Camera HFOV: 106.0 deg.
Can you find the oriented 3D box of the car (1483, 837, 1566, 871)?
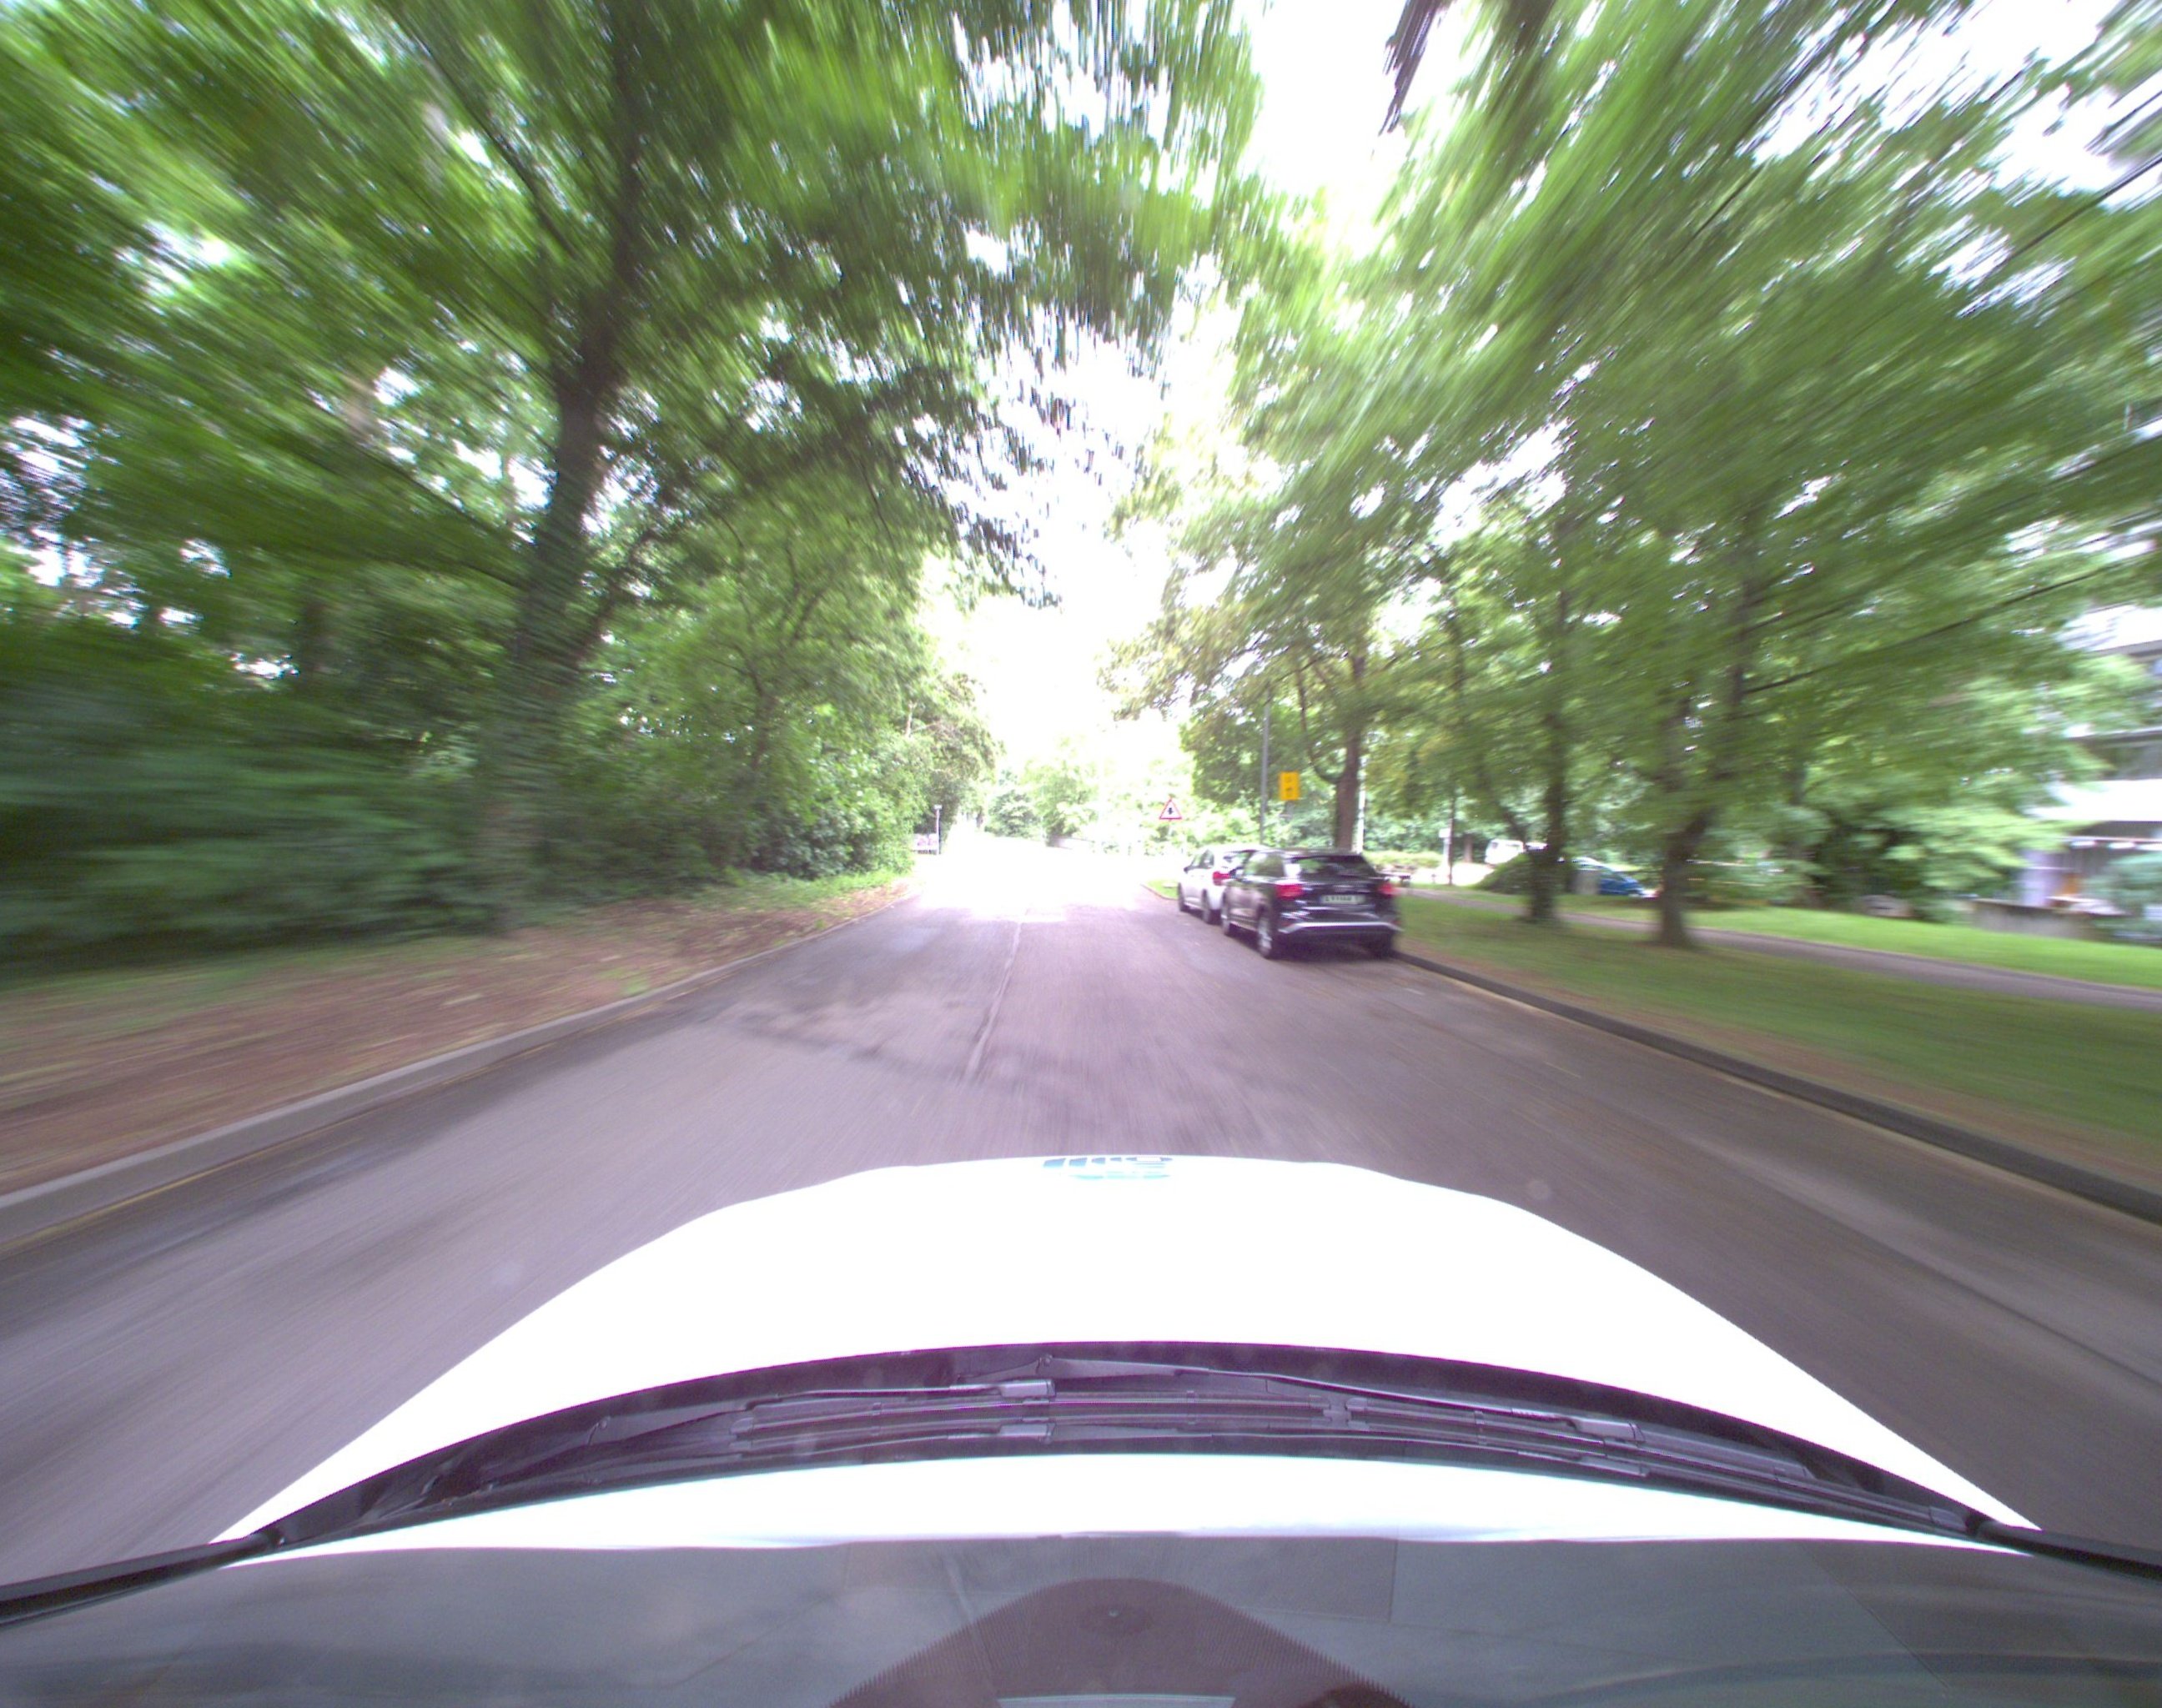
[{"bbox_3d":[28.097,-0.007,51.675,4.189,2.013,2.001,1,1,2],"label":"car"}]

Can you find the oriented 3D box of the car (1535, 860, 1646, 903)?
[{"bbox_3d":[21.270,1.105,34.145,3.495,1.570,1.838,2,1,10],"label":"car"}]

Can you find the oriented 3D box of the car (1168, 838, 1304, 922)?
[{"bbox_3d":[3.069,0.456,16.954,1.771,1.522,3.773,1,1,-6],"label":"car"}]

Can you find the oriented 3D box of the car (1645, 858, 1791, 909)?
[{"bbox_3d":[26.062,1.182,33.464,4.374,1.848,1.836,2,1,6],"label":"car"}]

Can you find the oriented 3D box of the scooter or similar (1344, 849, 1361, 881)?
[{"bbox_3d":[11.200,0.456,33.561,0.282,1.286,1.108,2,1,0],"label":"scooter or similar"}]

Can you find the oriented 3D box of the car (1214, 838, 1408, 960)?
[{"bbox_3d":[3.287,0.540,12.523,1.768,1.522,4.182,1,1,0],"label":"car"}]
